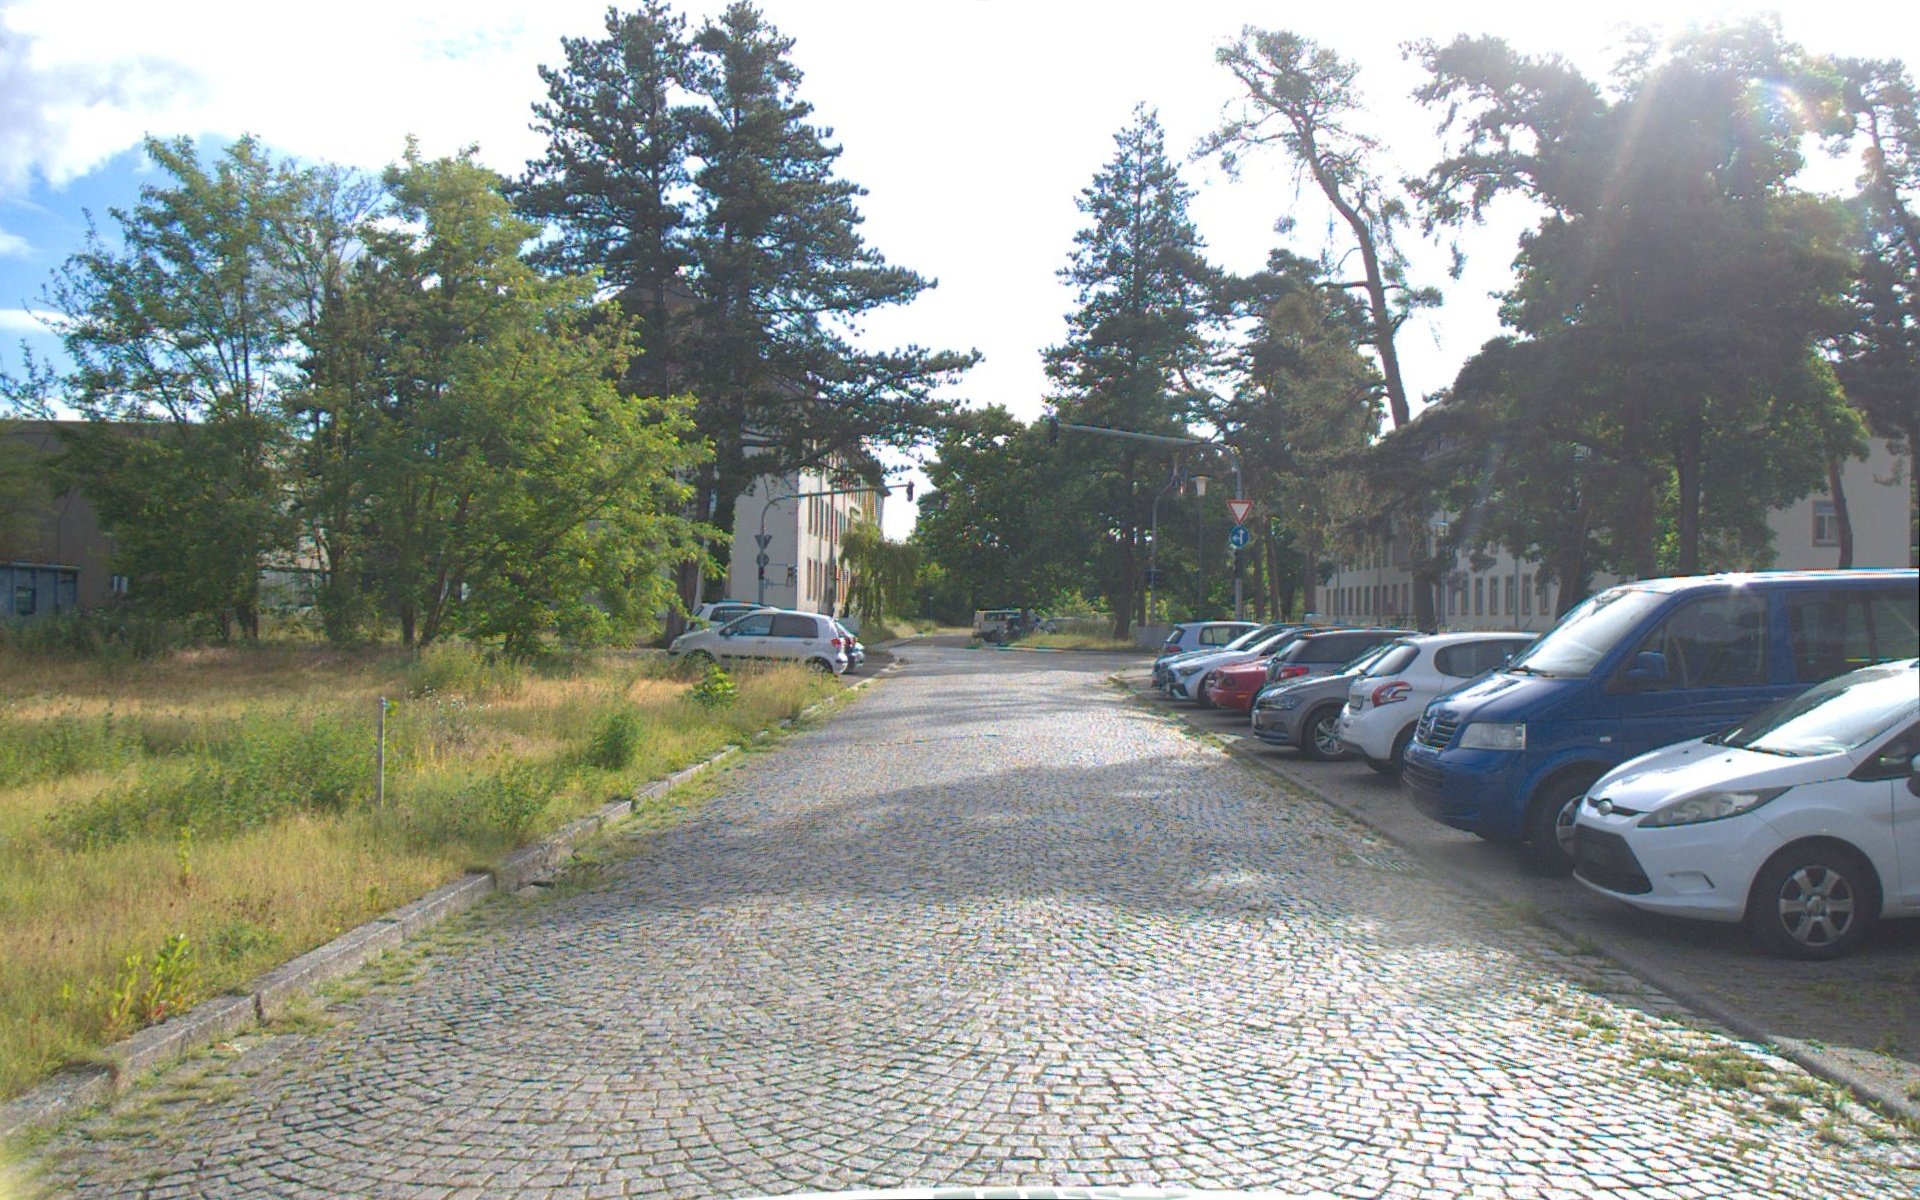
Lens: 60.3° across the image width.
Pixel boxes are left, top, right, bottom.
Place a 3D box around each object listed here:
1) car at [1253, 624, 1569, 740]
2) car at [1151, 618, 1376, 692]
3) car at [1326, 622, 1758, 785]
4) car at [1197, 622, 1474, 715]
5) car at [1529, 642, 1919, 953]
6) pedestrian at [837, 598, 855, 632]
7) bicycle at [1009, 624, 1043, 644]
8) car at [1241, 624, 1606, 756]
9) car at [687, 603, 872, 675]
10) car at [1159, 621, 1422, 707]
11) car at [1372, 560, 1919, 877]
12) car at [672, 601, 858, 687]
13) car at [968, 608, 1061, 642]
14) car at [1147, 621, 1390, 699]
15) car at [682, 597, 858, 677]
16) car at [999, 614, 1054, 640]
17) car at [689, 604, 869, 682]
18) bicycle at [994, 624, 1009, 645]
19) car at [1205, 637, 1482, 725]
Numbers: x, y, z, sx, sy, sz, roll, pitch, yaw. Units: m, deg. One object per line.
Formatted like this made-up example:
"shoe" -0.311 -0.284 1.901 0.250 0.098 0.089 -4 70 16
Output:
"car" 6.095 1.095 22.684 3.869 1.521 1.772 0 -1 1
"car" 6.433 1.163 35.373 4.451 1.532 1.932 0 -1 -1
"car" 5.827 1.020 16.906 3.794 1.557 1.808 0 -1 1
"car" 6.212 1.131 27.699 4.251 1.499 1.740 0 -1 0
"car" 5.475 0.987 9.044 4.107 1.495 1.806 0 -1 -3
"pedestrian" -6.846 0.927 98.957 0.965 1.998 0.932 1 -1 0
"bicycle" 3.457 1.768 86.487 1.756 1.016 0.644 0 0 -1
"car" 5.429 1.043 19.768 3.869 1.493 1.831 0 -1 1
"car" -4.584 0.976 42.491 4.495 1.481 1.903 4 1 -2
"car" 5.910 1.141 29.973 4.414 1.499 1.849 0 -1 0
"car" 5.457 0.758 11.560 4.636 1.962 1.992 -1 -1 0
"car" -4.022 0.913 34.593 3.609 1.499 1.849 4 -1 -1
"car" 3.360 1.557 102.430 5.406 1.949 2.246 1 -1 -13
"car" 6.054 1.173 32.750 4.417 1.499 1.894 0 -1 -3
"car" -4.527 0.895 39.949 4.040 1.627 1.857 4 -1 -4
"car" 3.970 1.629 98.856 2.979 1.491 1.715 1 -2 -12
"car" -4.025 0.963 37.248 3.751 1.454 1.858 4 -1 0
"bicycle" 2.069 1.710 82.911 0.713 1.016 1.799 0 0 1
"car" 5.796 1.220 25.324 3.869 1.283 1.726 0 -1 1
